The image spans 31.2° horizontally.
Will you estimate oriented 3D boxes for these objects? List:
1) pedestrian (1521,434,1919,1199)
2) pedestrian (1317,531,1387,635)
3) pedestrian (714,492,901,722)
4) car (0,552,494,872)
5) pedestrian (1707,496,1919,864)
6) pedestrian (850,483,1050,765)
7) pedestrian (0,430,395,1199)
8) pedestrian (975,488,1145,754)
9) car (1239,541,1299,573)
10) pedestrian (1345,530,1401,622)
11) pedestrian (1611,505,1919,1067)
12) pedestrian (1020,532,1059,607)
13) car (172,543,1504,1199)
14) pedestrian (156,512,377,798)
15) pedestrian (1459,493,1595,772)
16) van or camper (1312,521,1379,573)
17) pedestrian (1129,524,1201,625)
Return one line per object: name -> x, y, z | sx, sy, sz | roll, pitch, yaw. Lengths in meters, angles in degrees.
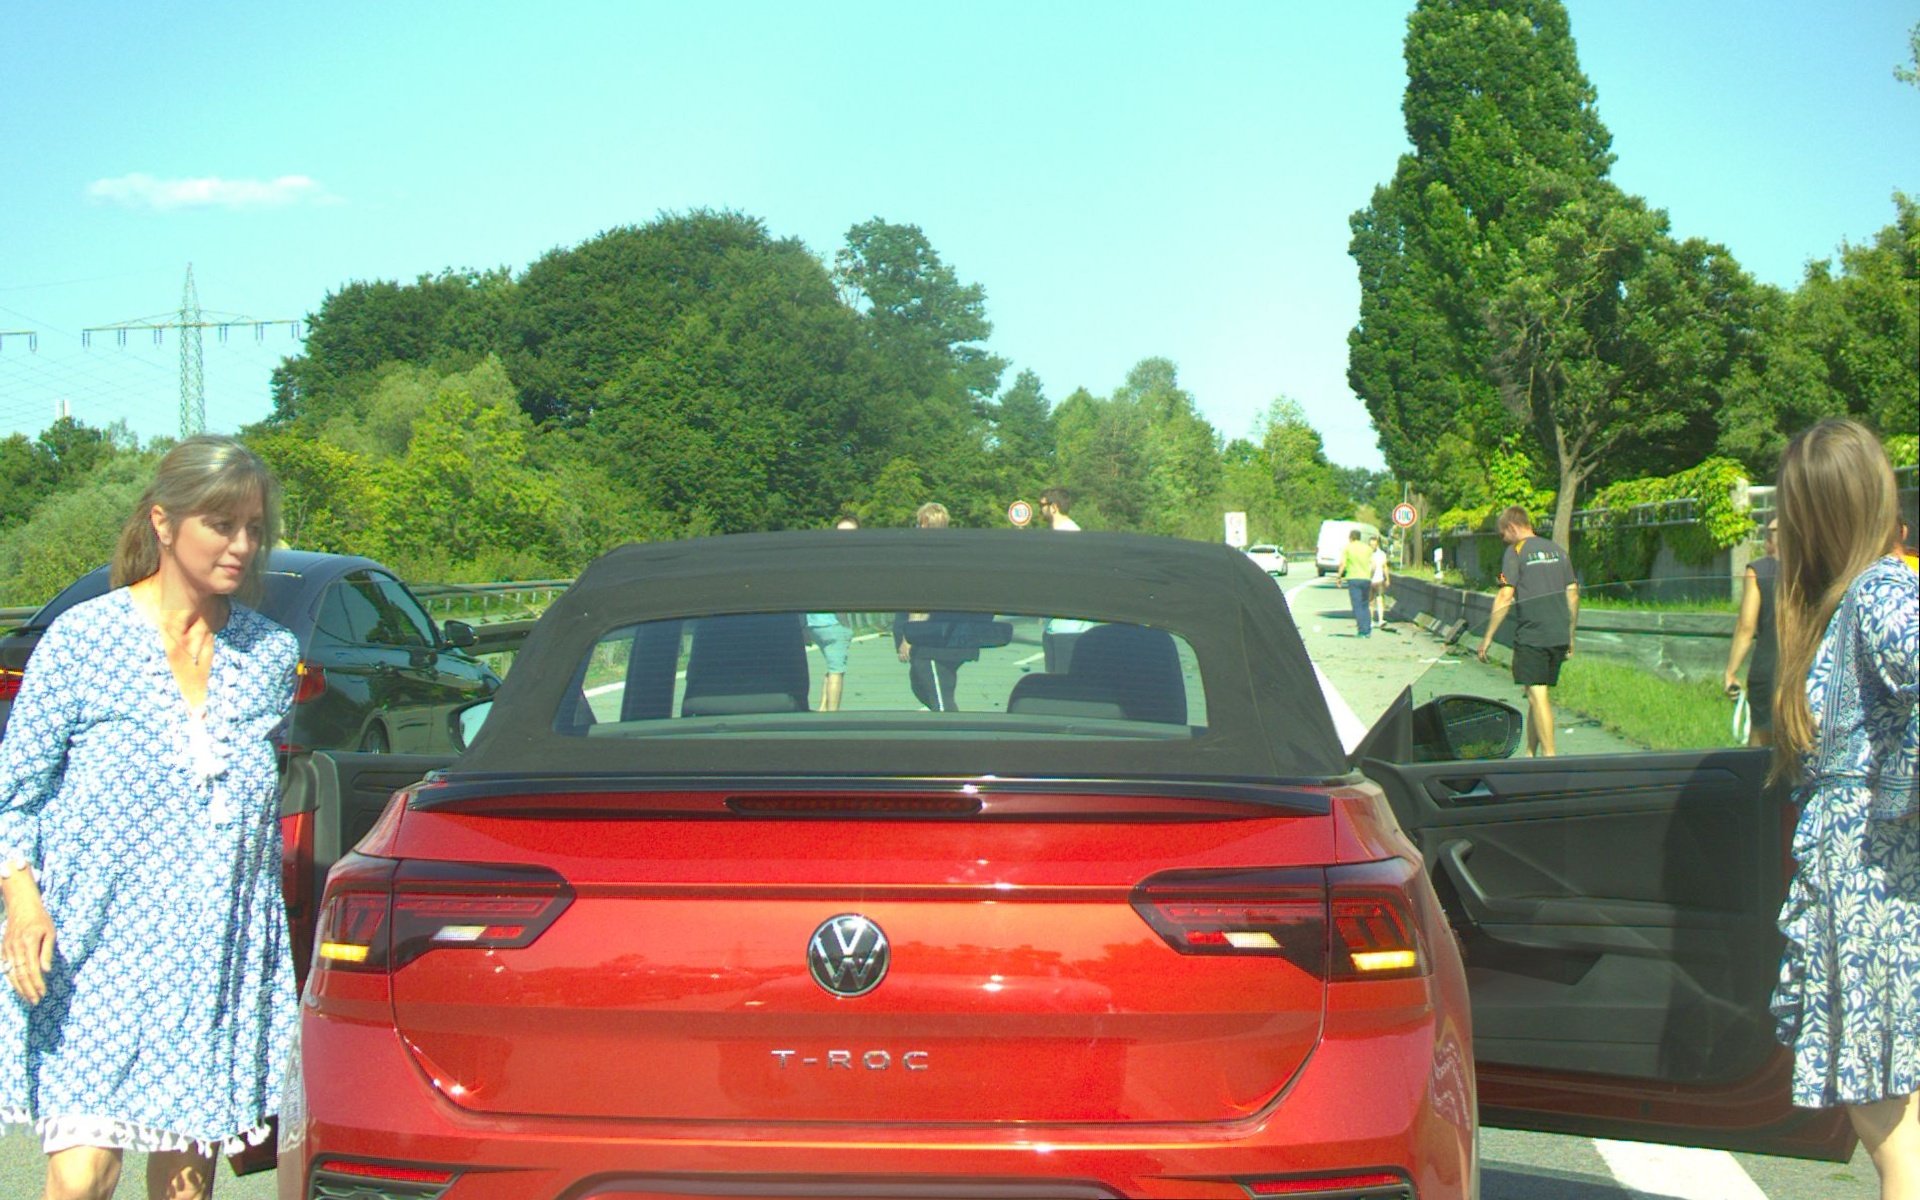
pedestrian -> 1.590, 0.581, 5.720 | 1.125, 1.689, 0.893 | -1, 1, -1
pedestrian -> 6.461, -0.284, 56.621 | 1.056, 1.683, 1.017 | 1, 1, 11
pedestrian -> -1.224, 0.047, 27.415 | 1.088, 1.782, 1.108 | 0, 1, -30
car -> -3.695, 0.479, 17.840 | 1.695, 1.421, 4.333 | 0, 1, 4
pedestrian -> 4.105, 0.371, 16.578 | 0.895, 1.719, 0.754 | 1, 0, 7
pedestrian -> -0.059, 0.154, 23.485 | 1.066, 1.876, 1.092 | -1, 1, 17
pedestrian -> -1.322, 0.590, 5.365 | 0.839, 1.677, 0.744 | -1, 1, -11
pedestrian -> 0.729, 0.138, 25.565 | 1.105, 1.906, 1.257 | -1, 1, -4
car -> 14.339, -2.006, 159.249 | 1.734, 1.482, 4.206 | 1, 1, 20
pedestrian -> 7.645, -0.449, 63.656 | 0.996, 1.683, 1.010 | 1, 1, 7
pedestrian -> 2.854, 0.530, 10.866 | 0.957, 1.648, 1.278 | -2, 1, -27
pedestrian -> 1.811, -0.693, 78.323 | 0.792, 1.683, 0.792 | 1, 0, 9
car -> -0.035, 0.643, 6.565 | 1.732, 1.482, 4.210 | 0, 1, 4
pedestrian -> -4.383, 0.332, 21.809 | 1.041, 1.757, 1.118 | -1, 1, 7
pedestrian -> 3.656, 0.196, 22.137 | 0.812, 1.753, 0.827 | 1, 0, 12
van or camper -> 17.696, -2.417, 157.753 | 1.996, 2.308, 4.465 | 1, 1, 21
pedestrian -> 3.457, -0.431, 57.949 | 1.114, 1.683, 0.973 | 1, 1, 9
